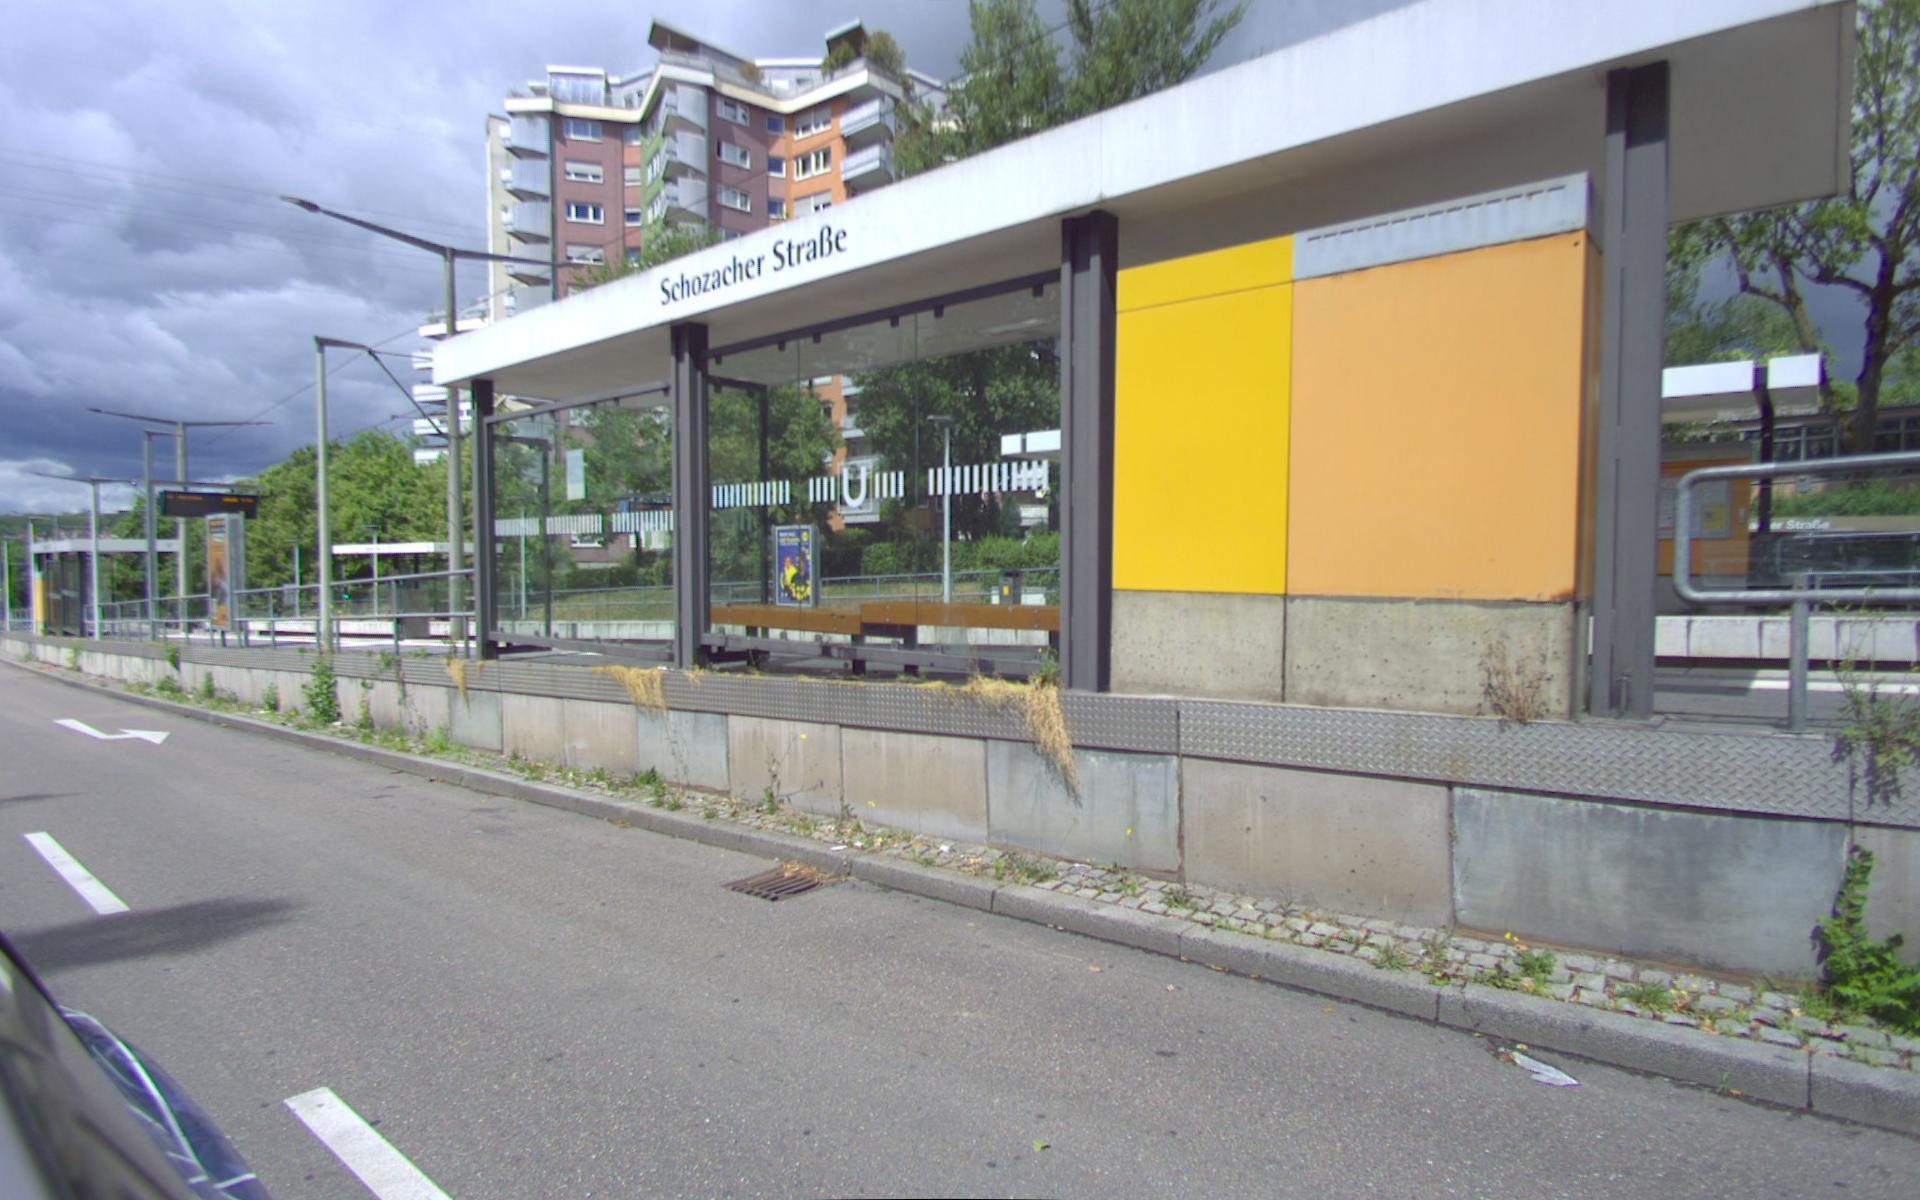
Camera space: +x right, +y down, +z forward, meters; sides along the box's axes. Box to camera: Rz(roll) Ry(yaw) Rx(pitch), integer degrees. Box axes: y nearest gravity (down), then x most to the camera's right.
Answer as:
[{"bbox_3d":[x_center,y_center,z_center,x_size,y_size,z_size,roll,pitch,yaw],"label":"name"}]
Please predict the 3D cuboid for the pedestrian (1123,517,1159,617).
[{"bbox_3d":[3.066,-0.549,17.159,0.558,1.657,0.520,-1,-1,9],"label":"pedestrian"}]

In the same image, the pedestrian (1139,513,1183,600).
[{"bbox_3d":[3.309,-0.709,16.668,0.520,1.390,0.537,2,1,32],"label":"pedestrian"}]

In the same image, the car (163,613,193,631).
[{"bbox_3d":[-68.973,1.935,89.279,1.635,1.524,3.740,-1,0,-45],"label":"car"}]

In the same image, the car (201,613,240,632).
[{"bbox_3d":[-56.881,1.711,77.783,3.999,1.429,1.637,-1,0,42],"label":"car"}]
